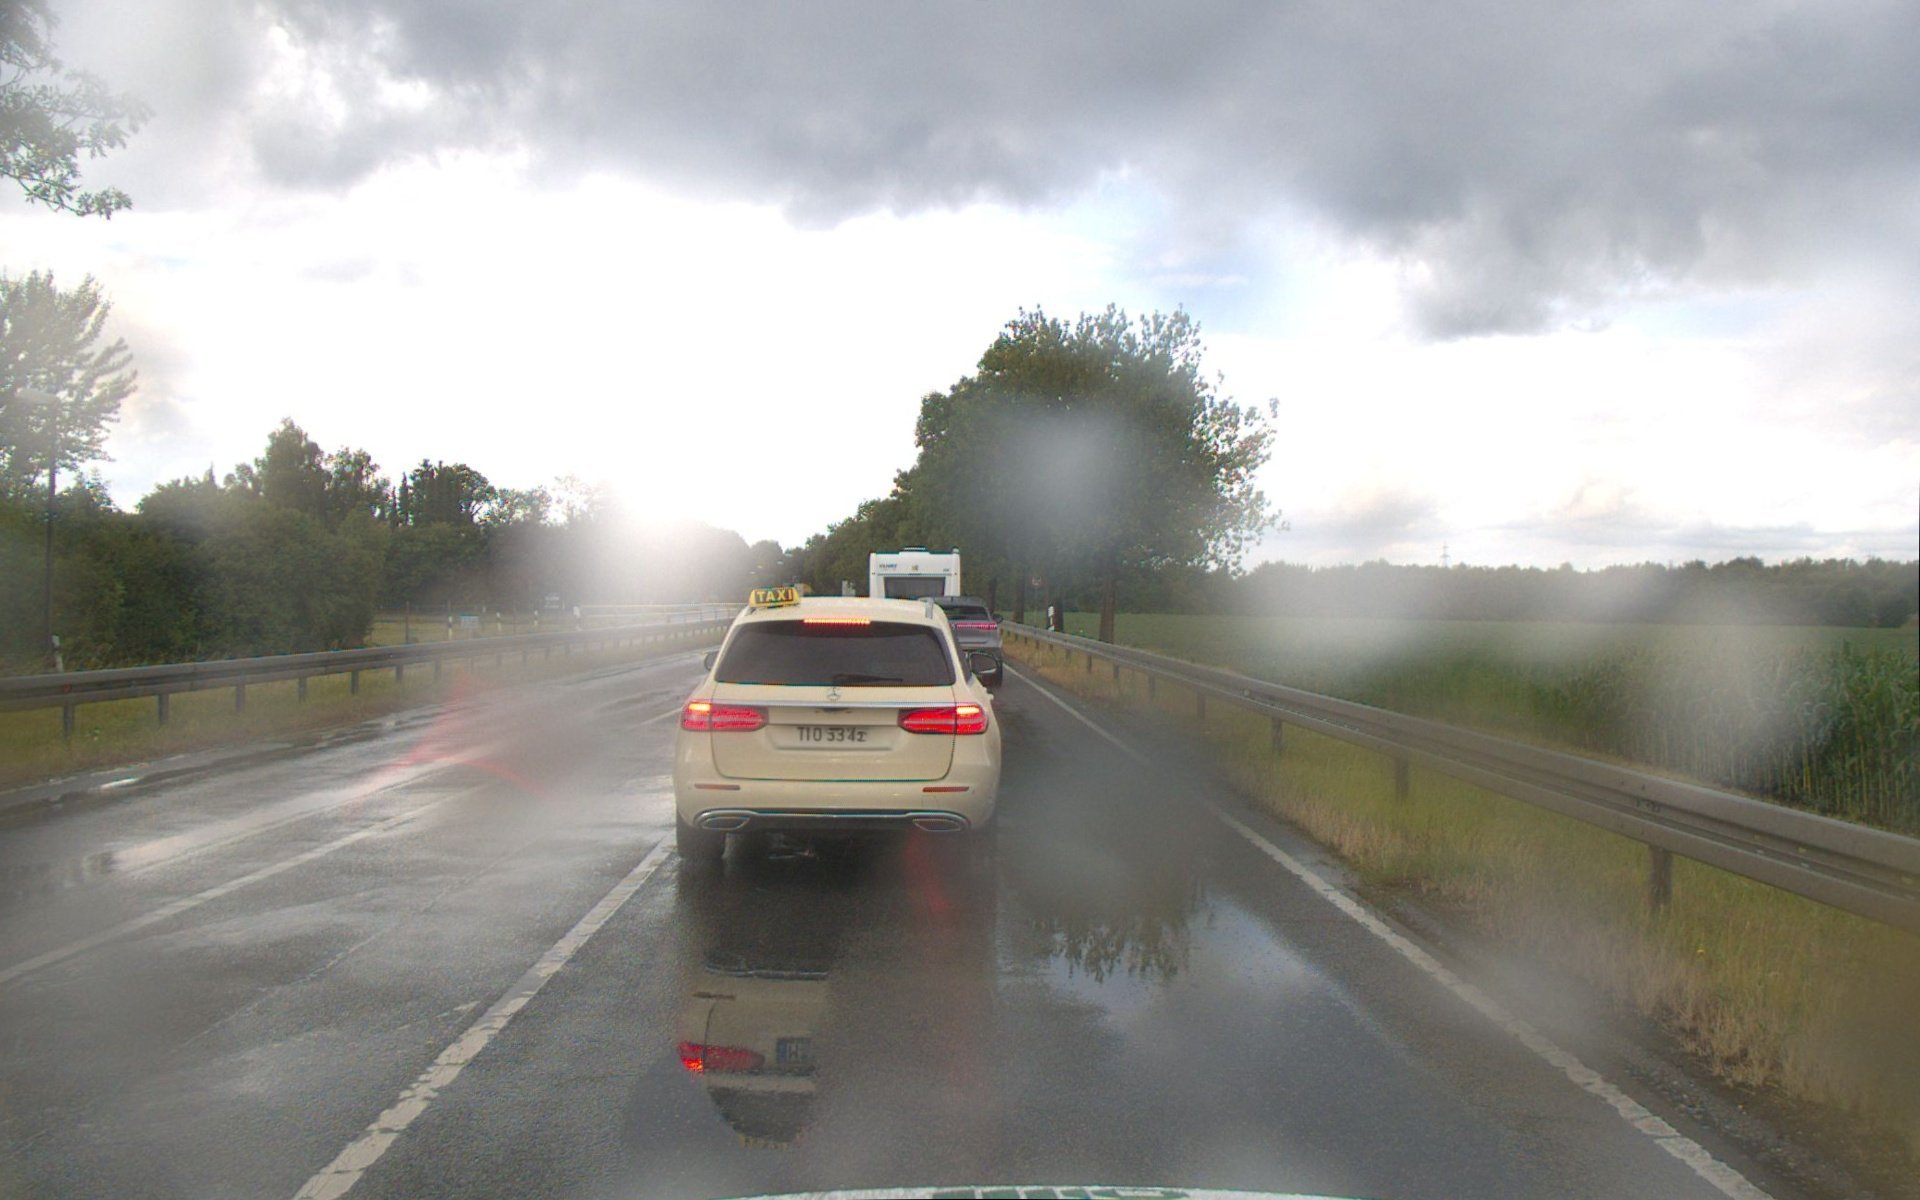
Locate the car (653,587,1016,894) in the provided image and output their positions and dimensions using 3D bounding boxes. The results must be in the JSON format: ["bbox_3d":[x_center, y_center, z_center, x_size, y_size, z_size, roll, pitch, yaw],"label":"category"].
[{"bbox_3d":[-0.612,0.696,10.266,1.787,1.511,4.145,0,0,0],"label":"car"}]

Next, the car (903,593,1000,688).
[{"bbox_3d":[-0.176,0.664,29.484,1.594,1.556,3.931,1,0,-1],"label":"car"}]

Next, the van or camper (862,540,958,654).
[{"bbox_3d":[-1.255,-0.098,42.905,2.303,2.727,5.767,1,0,-1],"label":"van or camper"}]

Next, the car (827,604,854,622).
[{"bbox_3d":[-8.727,0.928,120.552,1.723,1.291,3.999,1,0,-1],"label":"car"}]
